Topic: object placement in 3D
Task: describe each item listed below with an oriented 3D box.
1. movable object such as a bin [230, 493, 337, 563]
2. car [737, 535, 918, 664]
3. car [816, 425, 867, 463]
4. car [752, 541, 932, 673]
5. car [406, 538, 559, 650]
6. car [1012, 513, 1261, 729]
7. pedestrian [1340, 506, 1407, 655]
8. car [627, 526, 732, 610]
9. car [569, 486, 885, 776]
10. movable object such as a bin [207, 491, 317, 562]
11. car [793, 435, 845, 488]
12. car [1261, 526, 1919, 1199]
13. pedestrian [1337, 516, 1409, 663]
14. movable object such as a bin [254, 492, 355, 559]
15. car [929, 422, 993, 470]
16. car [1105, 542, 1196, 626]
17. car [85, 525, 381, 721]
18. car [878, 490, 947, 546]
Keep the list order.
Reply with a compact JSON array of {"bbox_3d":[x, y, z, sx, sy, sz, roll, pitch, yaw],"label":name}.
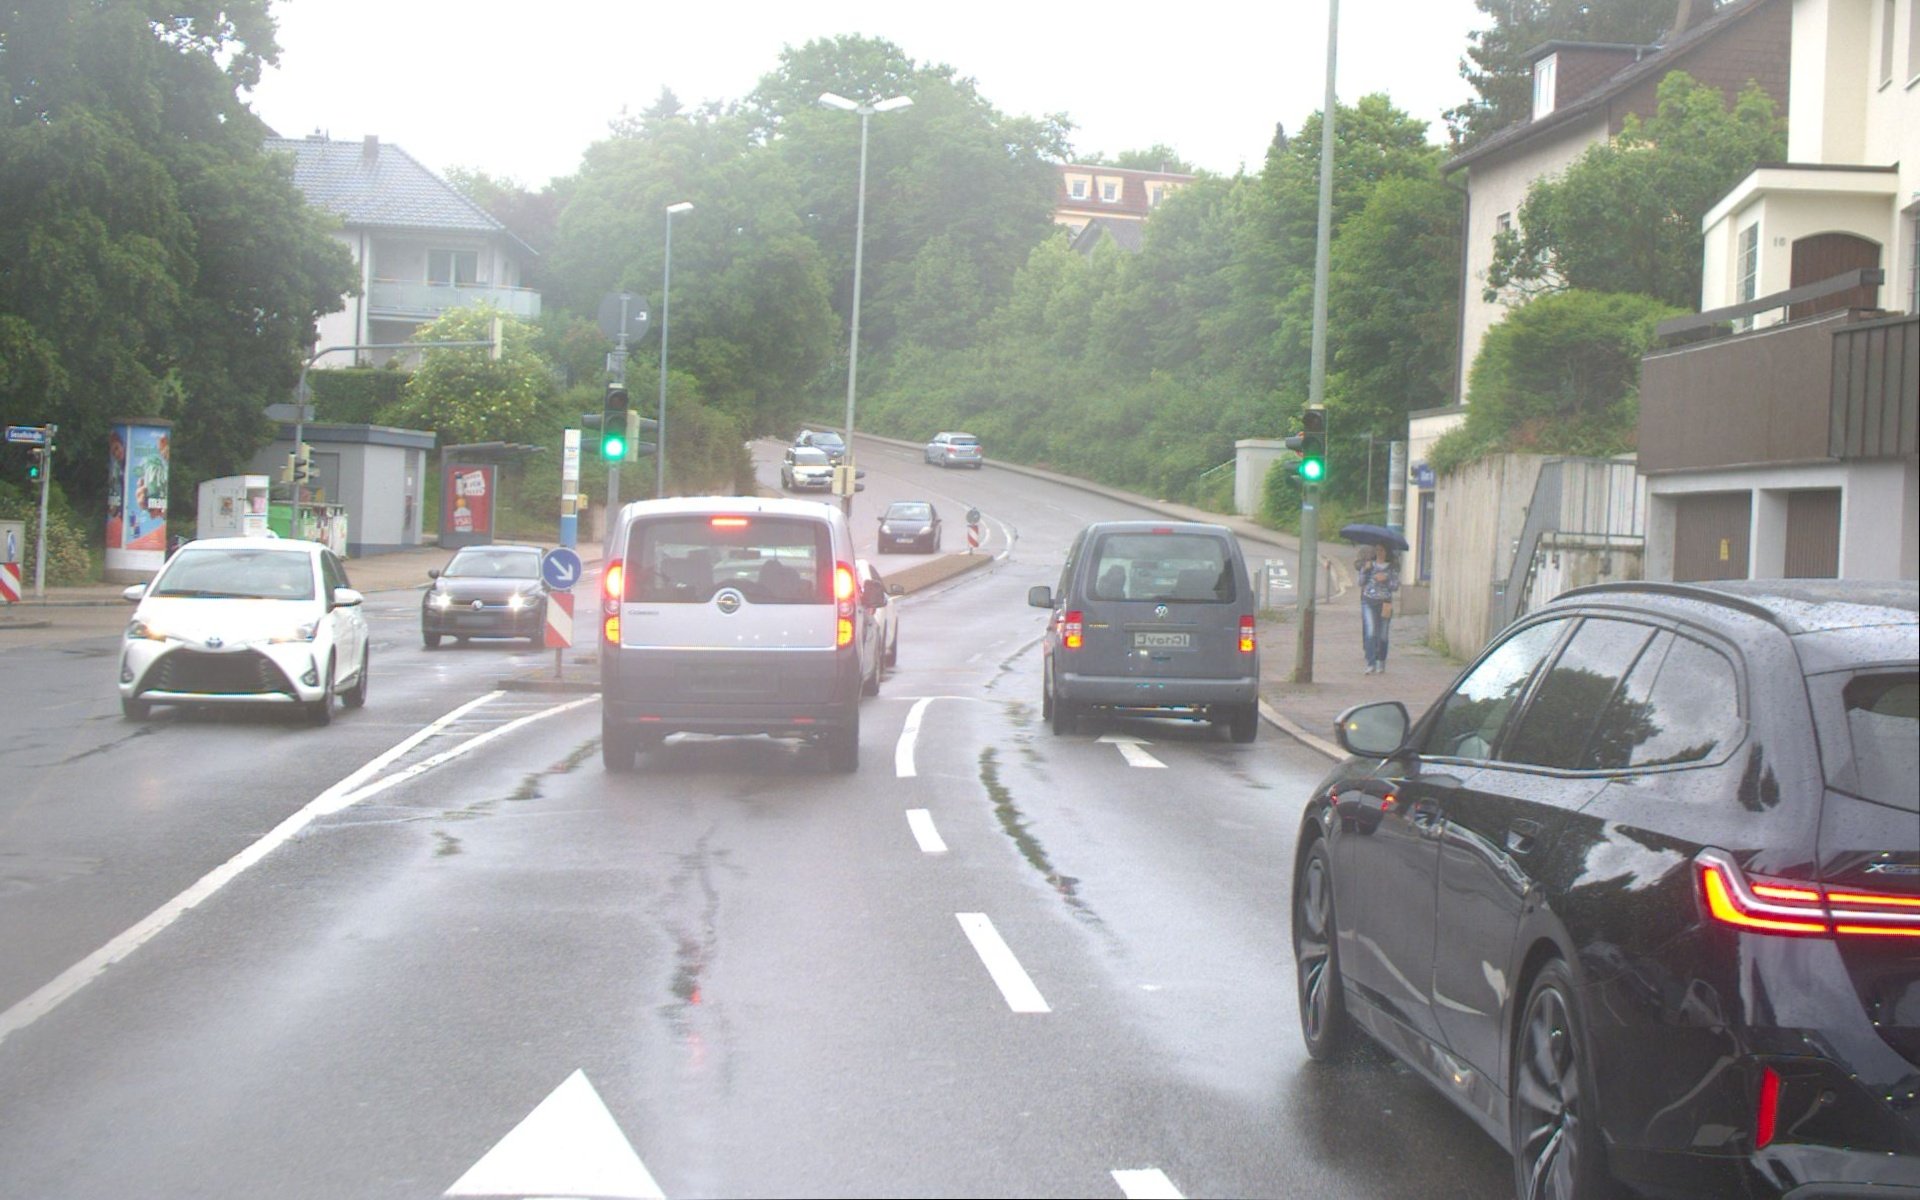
[{"bbox_3d":[-15.865,-1.704,80.699,2.058,1.563,1.581,1,3,8],"label":"movable object such as a bin"},{"bbox_3d":[-1.635,-0.038,43.999,1.908,1.523,4.651,1,1,3],"label":"car"},{"bbox_3d":[-5.230,-6.851,151.237,1.840,1.546,4.385,1,1,-7],"label":"car"},{"bbox_3d":[-1.378,0.054,41.656,1.835,1.482,4.059,1,1,3],"label":"car"},{"bbox_3d":[-6.836,-0.111,49.528,1.711,1.497,4.000,1,1,-2],"label":"car"},{"bbox_3d":[1.484,0.135,30.265,1.993,1.742,4.000,1,1,1],"label":"car"},{"bbox_3d":[5.668,-0.274,47.146,0.797,2.007,0.734,2,1,3],"label":"pedestrian"},{"bbox_3d":[-5.234,-0.617,64.115,1.853,1.459,4.001,2,1,-5],"label":"car"},{"bbox_3d":[-1.574,0.162,24.862,1.951,1.864,4.746,1,1,0],"label":"car"},{"bbox_3d":[-16.057,-1.701,79.111,2.058,1.563,1.581,1,3,8],"label":"movable object such as a bin"},{"bbox_3d":[-5.743,-5.613,139.770,1.993,2.007,4.001,1,1,-4],"label":"car"},{"bbox_3d":[2.131,0.702,8.634,1.993,1.581,4.663,1,-1,-4],"label":"car"},{"bbox_3d":[5.040,-0.130,41.954,0.794,1.774,1.011,0,1,3],"label":"pedestrian"},{"bbox_3d":[-15.656,-1.787,82.156,2.058,1.509,1.344,1,3,8],"label":"movable object such as a bin"},{"bbox_3d":[0.040,-6.961,155.821,1.993,2.007,4.001,1,1,-13],"label":"car"},{"bbox_3d":[4.237,-0.375,76.979,1.851,1.656,4.000,2,2,1],"label":"car"},{"bbox_3d":[-6.094,0.148,29.214,1.832,1.525,4.001,1,1,-3],"label":"car"},{"bbox_3d":[-1.445,-2.436,103.274,1.993,1.568,4.000,1,0,-1],"label":"car"}]
